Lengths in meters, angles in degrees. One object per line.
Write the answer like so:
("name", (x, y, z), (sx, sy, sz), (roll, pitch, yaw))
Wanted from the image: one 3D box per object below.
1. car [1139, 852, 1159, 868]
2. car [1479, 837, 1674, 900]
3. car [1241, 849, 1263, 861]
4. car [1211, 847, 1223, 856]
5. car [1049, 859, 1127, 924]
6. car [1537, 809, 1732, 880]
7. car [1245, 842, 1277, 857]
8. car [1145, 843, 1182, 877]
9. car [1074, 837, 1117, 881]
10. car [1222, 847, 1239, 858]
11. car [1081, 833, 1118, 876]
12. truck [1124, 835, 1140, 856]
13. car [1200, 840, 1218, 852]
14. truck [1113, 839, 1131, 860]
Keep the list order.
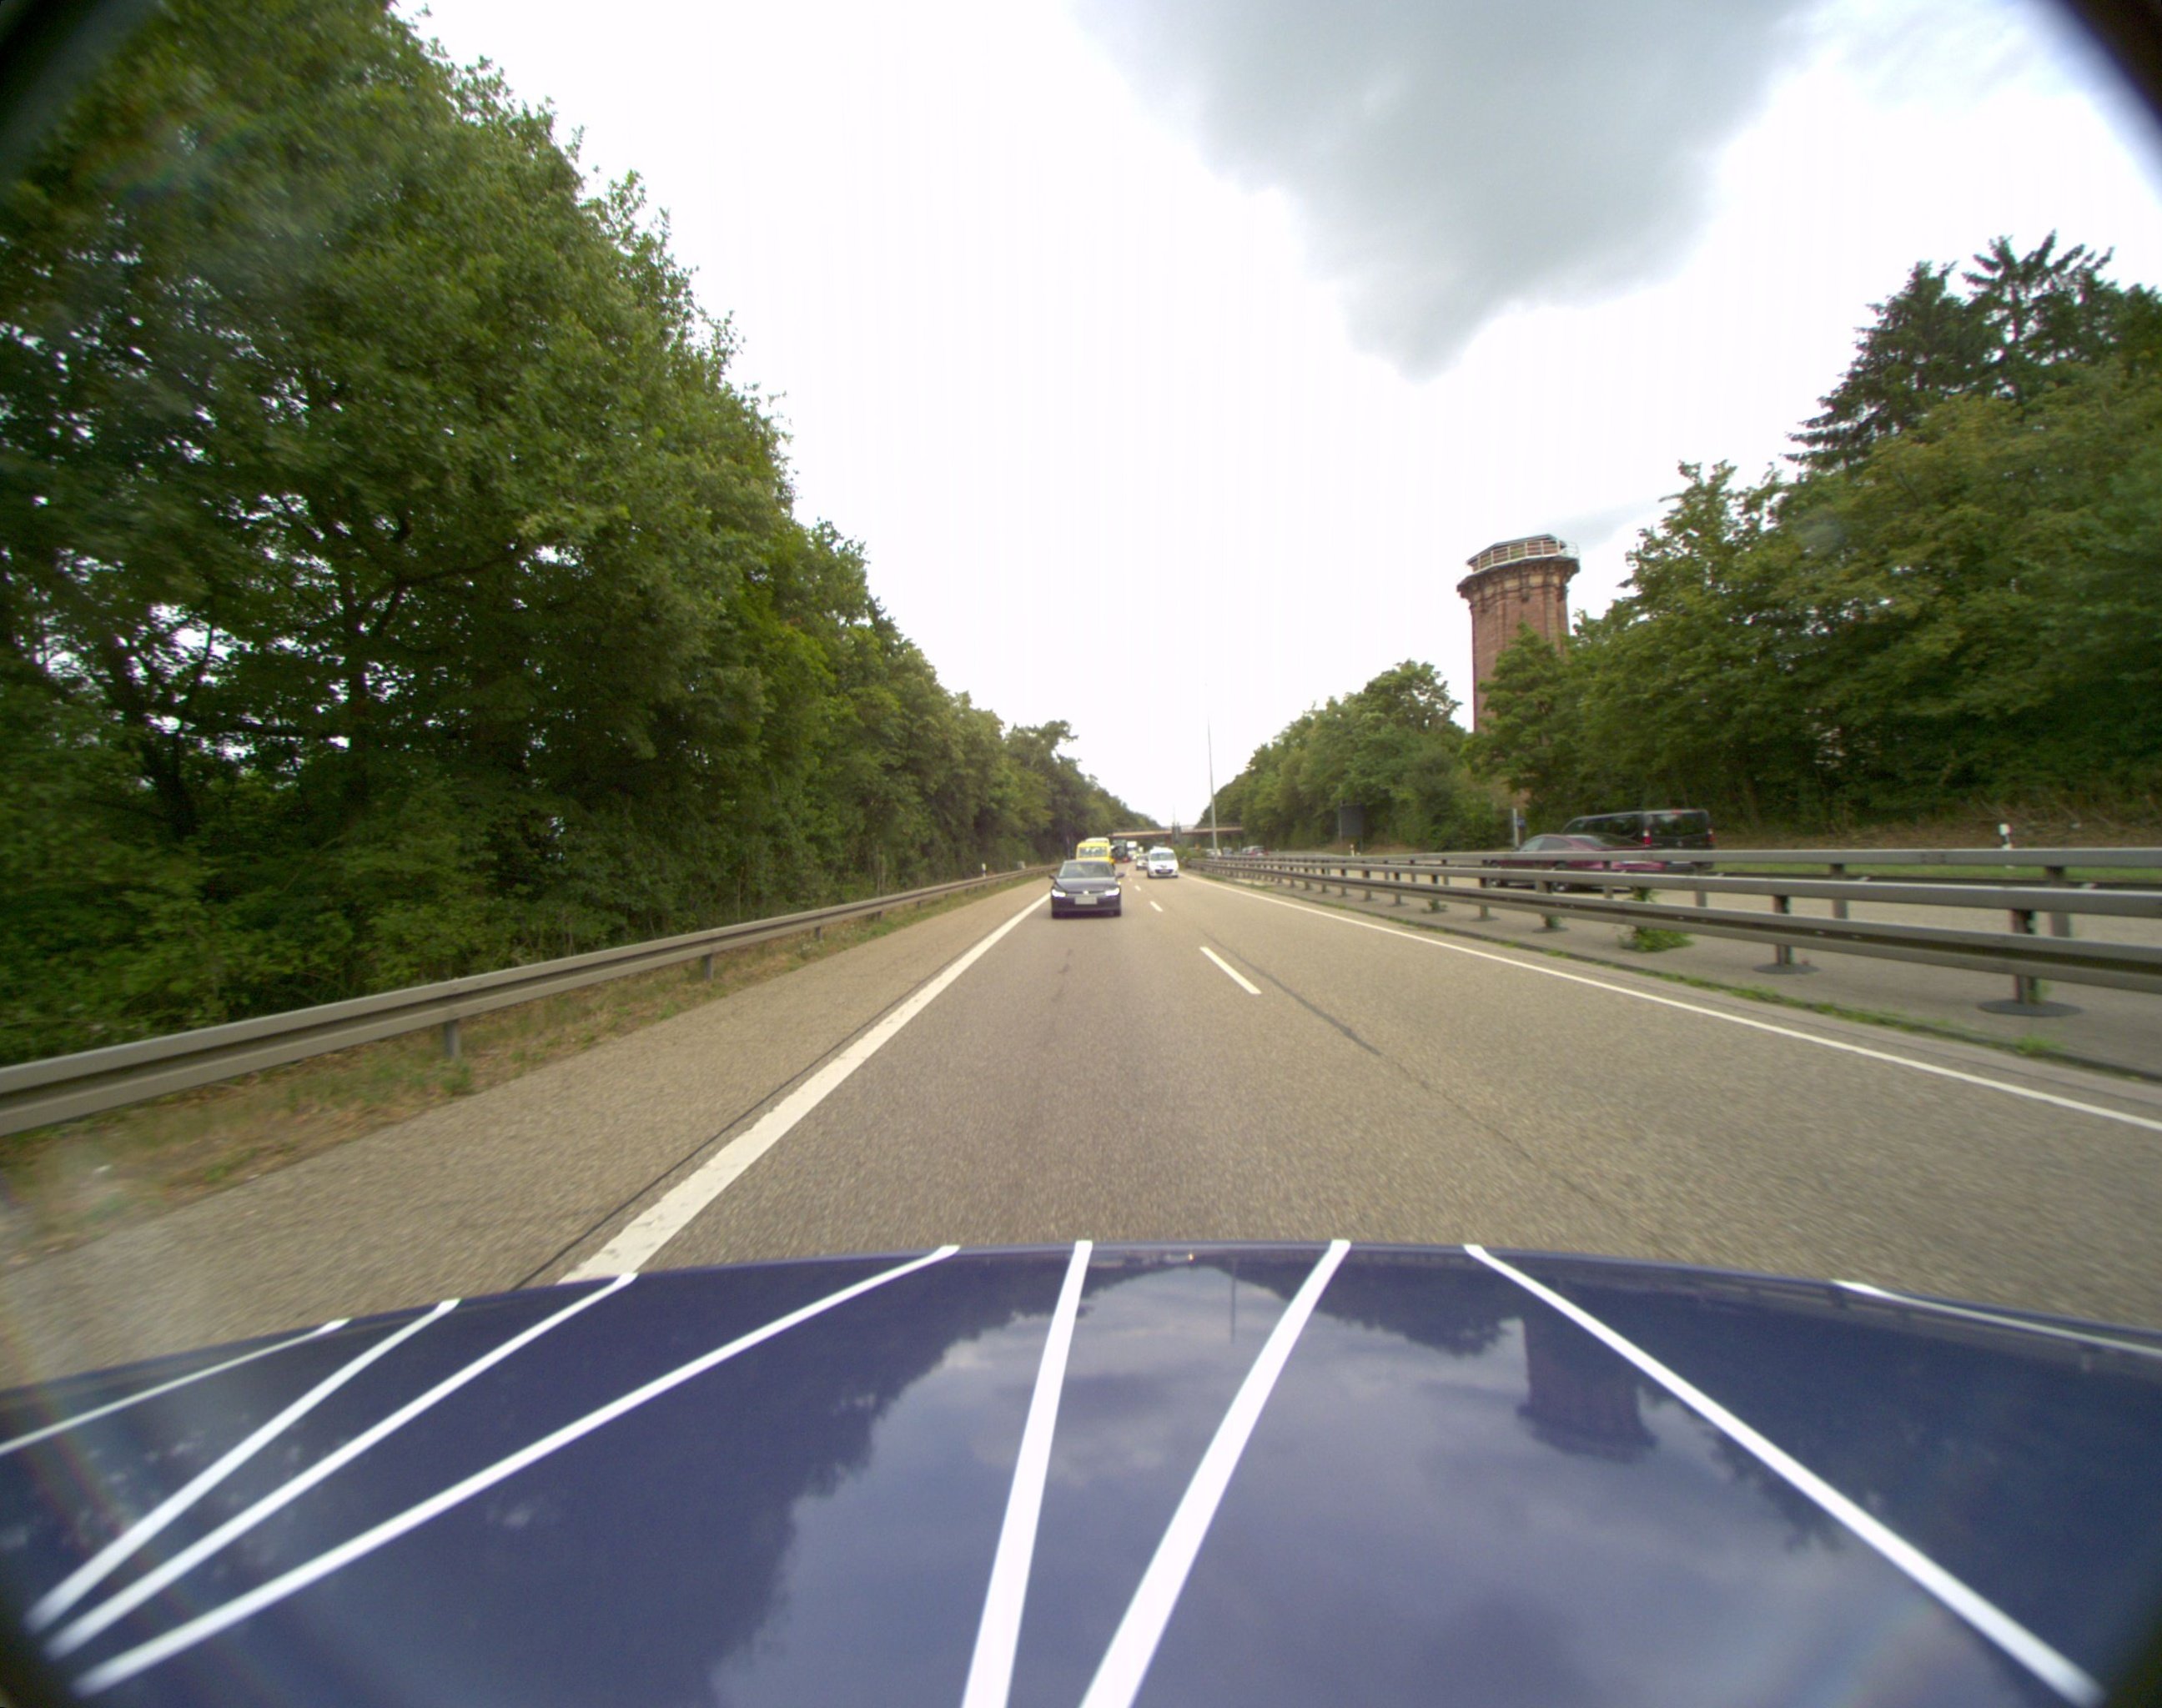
("car", (6.427, 0.534, 71.609), (1.771, 1.416, 4.199), (-1, 1, 6))
("car", (11.591, 0.280, 18.238), (1.659, 1.271, 4.712), (-2, 1, 1))
("car", (20.456, 0.110, 91.131), (1.816, 1.441, 4.057), (-2, 1, 2))
("car", (24.051, -0.398, 134.305), (1.632, 1.499, 3.728), (-2, 1, 4))
("car", (0.105, 0.884, 20.144), (1.801, 1.398, 4.638), (-2, 1, -2))
("car", (15.911, -0.270, 22.281), (2.040, 1.793, 5.123), (-2, 1, 1))
("car", (16.565, -0.418, 69.930), (1.982, 1.292, 4.068), (-2, 1, 1))
("car", (5.067, 0.332, 47.342), (1.821, 1.993, 4.422), (-2, 1, 0))
("car", (0.921, 0.263, 44.231), (2.247, 2.334, 5.225), (-2, 1, 4))
("car", (22.008, -0.222, 111.979), (1.735, 1.592, 4.132), (-2, 1, 2))
("car", (1.363, 0.014, 52.382), (2.207, 2.732, 6.168), (-2, 1, 4))
("truck", (11.416, -1.861, 168.378), (3.098, 4.462, 12.213), (-1, 1, 6))
("car", (16.454, -0.995, 97.756), (1.716, 1.418, 4.057), (-2, 1, 2))
("truck", (7.020, -0.779, 129.149), (2.547, 3.564, 6.459), (-1, 1, 6))
